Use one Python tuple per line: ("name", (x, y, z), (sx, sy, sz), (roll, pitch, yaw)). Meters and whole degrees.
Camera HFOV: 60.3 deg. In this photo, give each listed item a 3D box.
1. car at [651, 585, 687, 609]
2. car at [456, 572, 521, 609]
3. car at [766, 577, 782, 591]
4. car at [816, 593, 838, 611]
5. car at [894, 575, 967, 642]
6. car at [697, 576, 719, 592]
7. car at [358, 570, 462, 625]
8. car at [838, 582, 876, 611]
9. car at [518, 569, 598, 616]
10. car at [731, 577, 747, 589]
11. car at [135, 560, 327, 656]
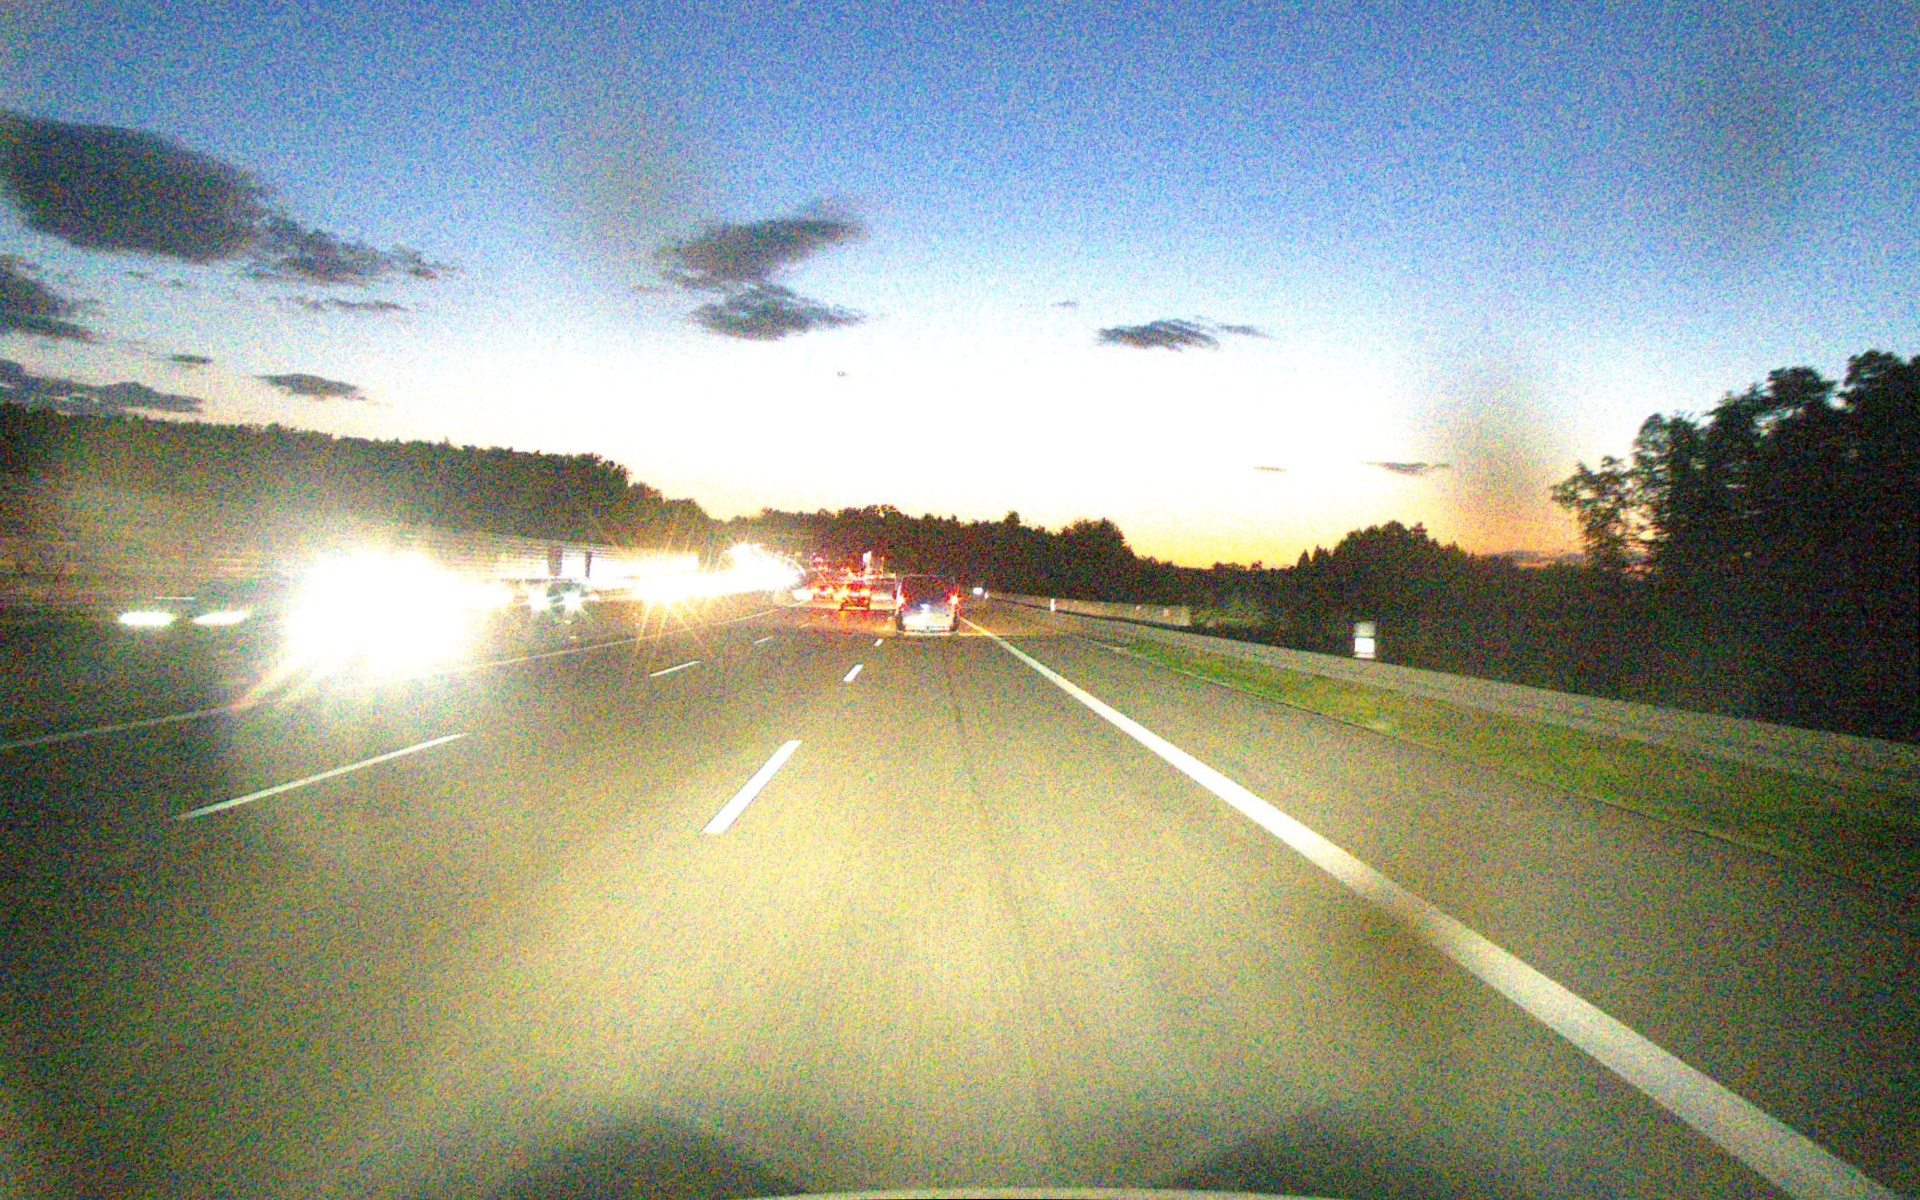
("car", (-22.833, -0.222, 129.916), (2.061, 1.821, 4.650), (1, -1, -1))
("car", (-24.744, -0.484, 86.975), (2.061, 1.821, 4.868), (1, -1, -1))
("car", (-27.175, -2.307, 241.384), (2.063, 1.821, 4.647), (1, -1, -4))
("car", (-11.208, 0.200, 139.599), (1.518, 1.456, 5.512), (1, -1, -2))
("car", (-0.978, 0.244, 51.658), (2.153, 1.989, 4.760), (0, 0, -3))
("car", (-30.066, -1.930, 197.589), (2.062, 1.821, 4.648), (1, -1, -2))
("car", (-19.281, -0.122, 58.212), (2.061, 1.820, 4.869), (1, 1, -1))
("car", (-6.519, -0.212, 105.462), (1.952, 1.751, 5.942), (0, -1, 1))
("car", (-16.372, -0.329, 67.554), (2.061, 1.820, 4.869), (1, 1, -1))
("car", (-34.291, -2.636, 256.638), (2.062, 1.821, 4.648), (1, -1, -3))
("car", (-14.991, 0.171, 34.300), (2.061, 1.821, 4.318), (1, -1, -1))
